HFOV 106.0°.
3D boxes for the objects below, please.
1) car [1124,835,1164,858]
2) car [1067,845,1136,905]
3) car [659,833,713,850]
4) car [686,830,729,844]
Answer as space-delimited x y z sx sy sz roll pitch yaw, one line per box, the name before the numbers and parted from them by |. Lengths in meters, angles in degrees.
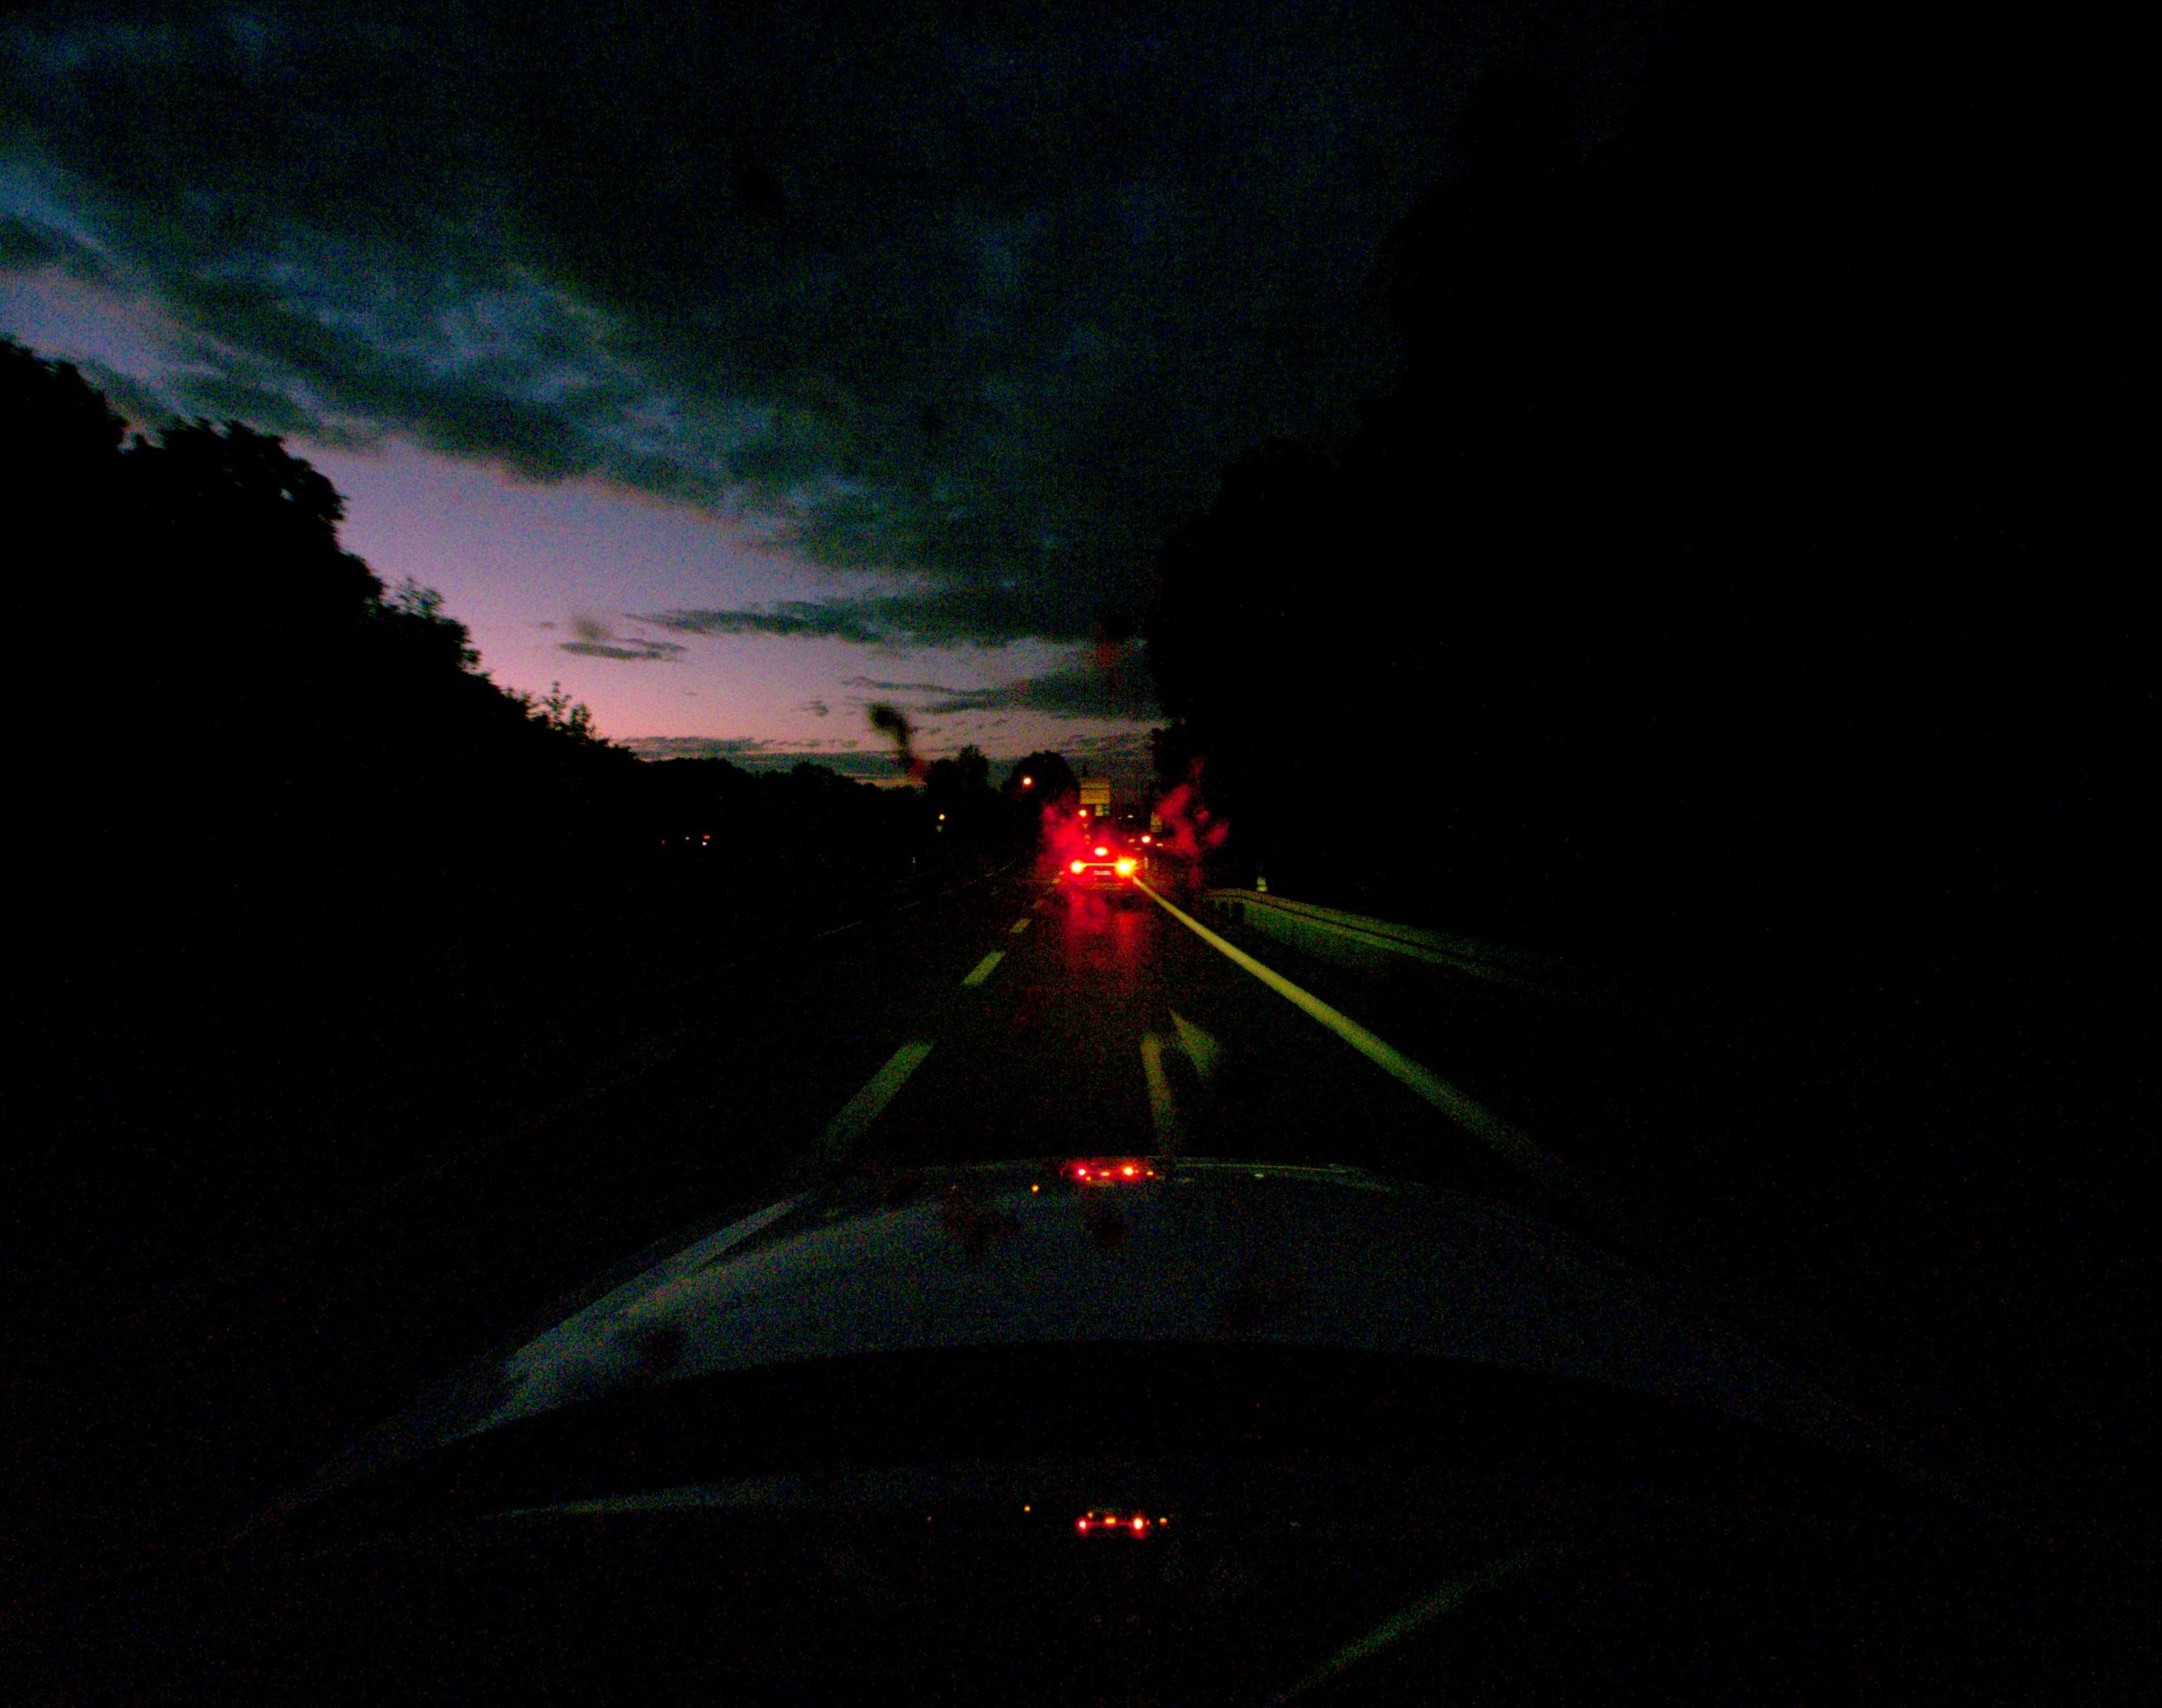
car | 4.783 -0.543 61.596 1.765 1.653 4.022 -1 -1 23
car | 0.544 0.580 24.651 1.895 1.620 4.555 -1 0 -1
car | -35.521 -1.148 73.312 3.994 1.453 1.990 -2 1 -15
car | -40.922 -1.826 89.282 3.992 1.453 1.991 1 1 -14
